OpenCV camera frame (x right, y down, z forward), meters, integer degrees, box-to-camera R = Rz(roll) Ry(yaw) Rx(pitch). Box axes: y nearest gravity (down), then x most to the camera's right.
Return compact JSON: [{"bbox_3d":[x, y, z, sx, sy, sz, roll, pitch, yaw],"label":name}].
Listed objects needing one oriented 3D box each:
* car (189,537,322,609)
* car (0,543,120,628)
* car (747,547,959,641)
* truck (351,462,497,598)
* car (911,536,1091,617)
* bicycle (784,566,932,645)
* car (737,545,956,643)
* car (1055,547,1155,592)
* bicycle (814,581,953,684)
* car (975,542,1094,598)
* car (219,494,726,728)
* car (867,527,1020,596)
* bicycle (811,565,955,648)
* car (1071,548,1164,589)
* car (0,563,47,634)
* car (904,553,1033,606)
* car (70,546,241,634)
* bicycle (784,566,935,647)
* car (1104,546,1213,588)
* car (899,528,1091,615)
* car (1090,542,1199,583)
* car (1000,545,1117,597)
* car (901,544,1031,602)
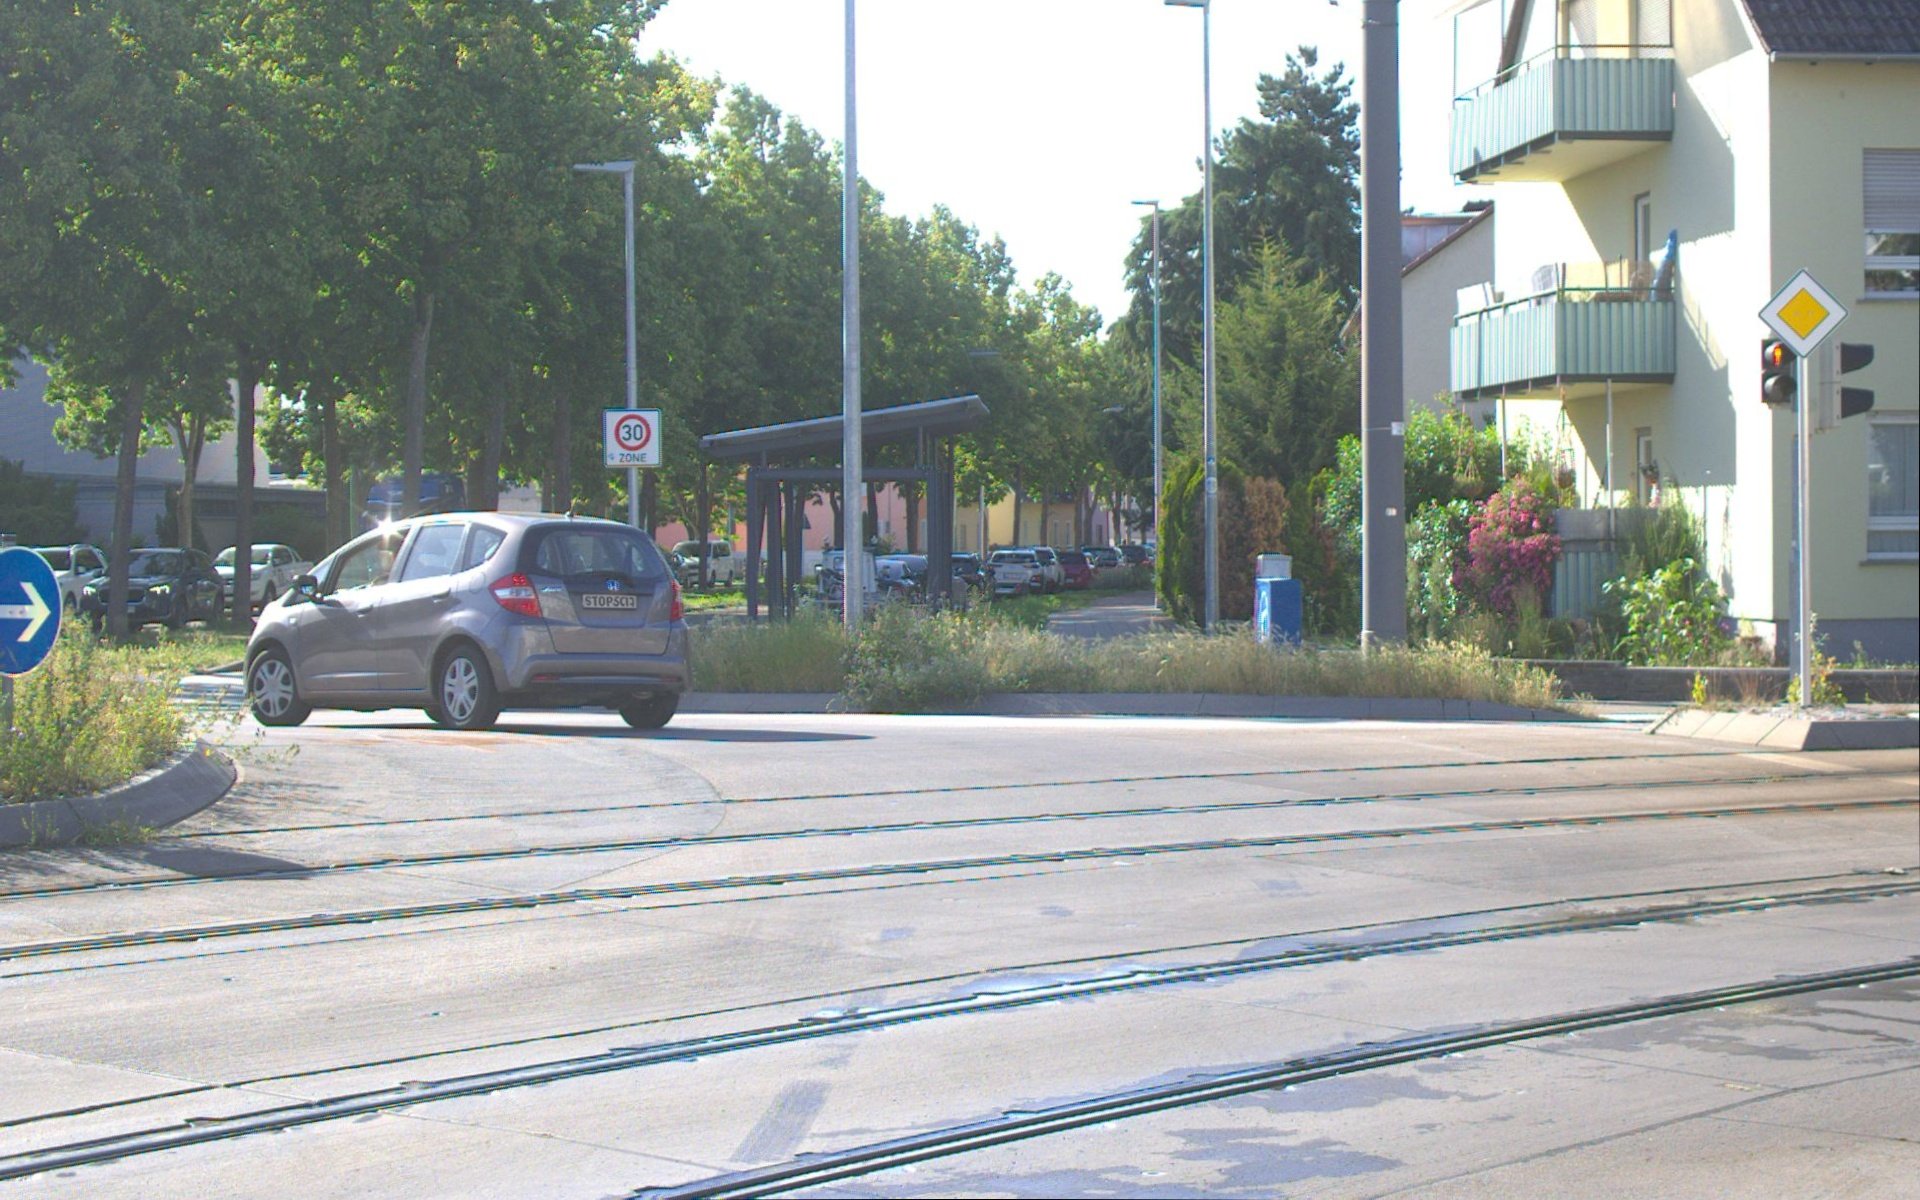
[{"bbox_3d":[-18.173,-0.723,88.909,1.994,1.766,5.059,1,1,5],"label":"car"},{"bbox_3d":[-19.230,-0.332,72.384,1.993,1.694,4.218,1,1,1],"label":"car"},{"bbox_3d":[-1.820,-0.112,59.082,3.517,1.528,1.577,1,1,2],"label":"car"},{"bbox_3d":[-16.528,-2.172,106.530,3.069,3.979,8.008,1,1,1],"label":"truck"},{"bbox_3d":[0.833,-0.474,68.782,3.517,1.528,1.577,1,1,2],"label":"car"},{"bbox_3d":[-1.386,0.071,46.637,1.973,1.024,0.689,1,1,-2],"label":"bicycle"},{"bbox_3d":[-1.864,-0.108,57.327,3.517,1.528,1.577,1,1,2],"label":"car"},{"bbox_3d":[5.203,-1.092,123.584,3.517,1.528,1.577,1,1,1],"label":"car"},{"bbox_3d":[-0.937,0.391,41.996,1.665,1.203,0.689,1,1,-2],"label":"bicycle"},{"bbox_3d":[2.154,-0.872,99.489,3.359,1.528,1.523,1,1,1],"label":"car"},{"bbox_3d":[-3.535,0.010,24.454,1.688,1.485,3.913,-2,3,-42],"label":"car"},{"bbox_3d":[-0.375,-0.910,81.184,3.517,1.528,1.577,1,1,2],"label":"car"},{"bbox_3d":[-1.005,0.078,44.788,1.840,1.024,0.689,1,1,-2],"label":"bicycle"},{"bbox_3d":[6.135,-1.230,134.197,3.517,1.528,1.577,1,1,1],"label":"car"},{"bbox_3d":[-19.385,-0.058,67.578,1.961,1.319,4.001,1,1,-3],"label":"car"},{"bbox_3d":[0.245,-0.585,95.706,3.442,1.389,1.237,1,1,5],"label":"car"},{"bbox_3d":[-15.203,-0.211,65.211,1.831,1.575,4.440,1,1,5],"label":"car"},{"bbox_3d":[-1.335,0.086,45.686,1.973,1.024,0.696,1,1,-2],"label":"bicycle"},{"bbox_3d":[6.567,-1.098,113.774,3.517,1.291,1.577,1,1,1],"label":"car"},{"bbox_3d":[0.668,-0.545,64.195,3.517,1.528,1.577,1,1,2],"label":"car"},{"bbox_3d":[6.081,-1.255,113.609,3.517,1.275,1.577,1,1,1],"label":"car"},{"bbox_3d":[2.979,-0.880,104.242,3.479,1.488,1.552,1,1,1],"label":"car"},{"bbox_3d":[0.175,-0.748,93.995,3.412,1.528,1.524,0,1,5],"label":"car"}]
